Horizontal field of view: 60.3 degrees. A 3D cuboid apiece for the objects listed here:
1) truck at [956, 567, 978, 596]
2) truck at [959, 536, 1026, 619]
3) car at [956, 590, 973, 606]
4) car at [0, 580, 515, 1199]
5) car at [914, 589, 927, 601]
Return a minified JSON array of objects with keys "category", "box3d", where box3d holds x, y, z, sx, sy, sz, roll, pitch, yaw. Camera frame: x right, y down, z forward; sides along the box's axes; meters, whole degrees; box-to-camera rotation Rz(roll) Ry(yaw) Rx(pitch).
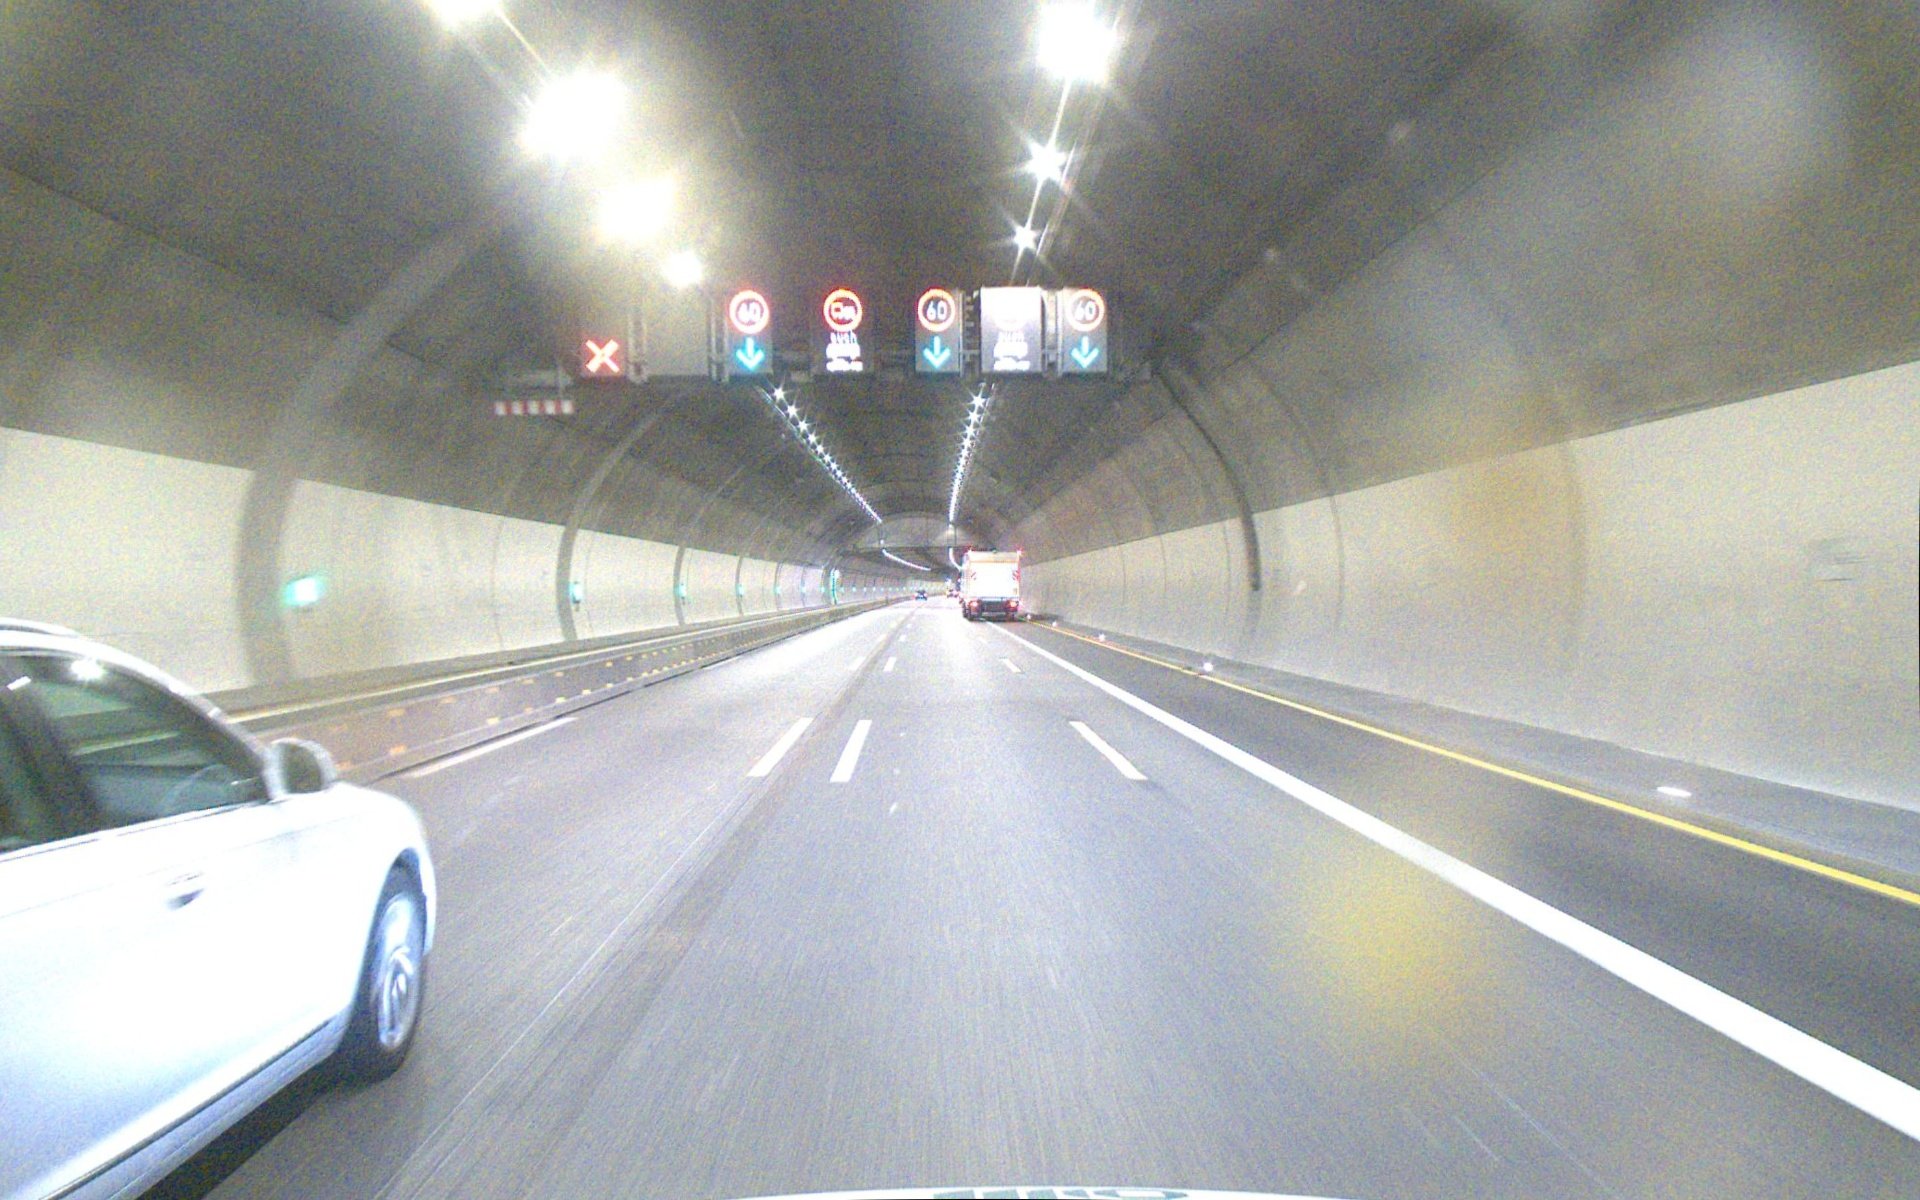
[{"category":"truck","box3d":[1.092,-2.660,240.673,3.003,3.986,10.368,-1,0,1]},{"category":"truck","box3d":[1.583,-1.076,85.668,3.029,3.986,10.366,-1,0,-1]},{"category":"car","box3d":[0.469,-0.209,174.600,1.704,1.486,3.961,-2,1,0]},{"category":"car","box3d":[-2.508,0.782,3.466,1.865,1.510,4.942,-3,1,-2]},{"category":"car","box3d":[-5.296,-0.621,222.708,1.723,1.486,4.118,-2,1,-1]}]
